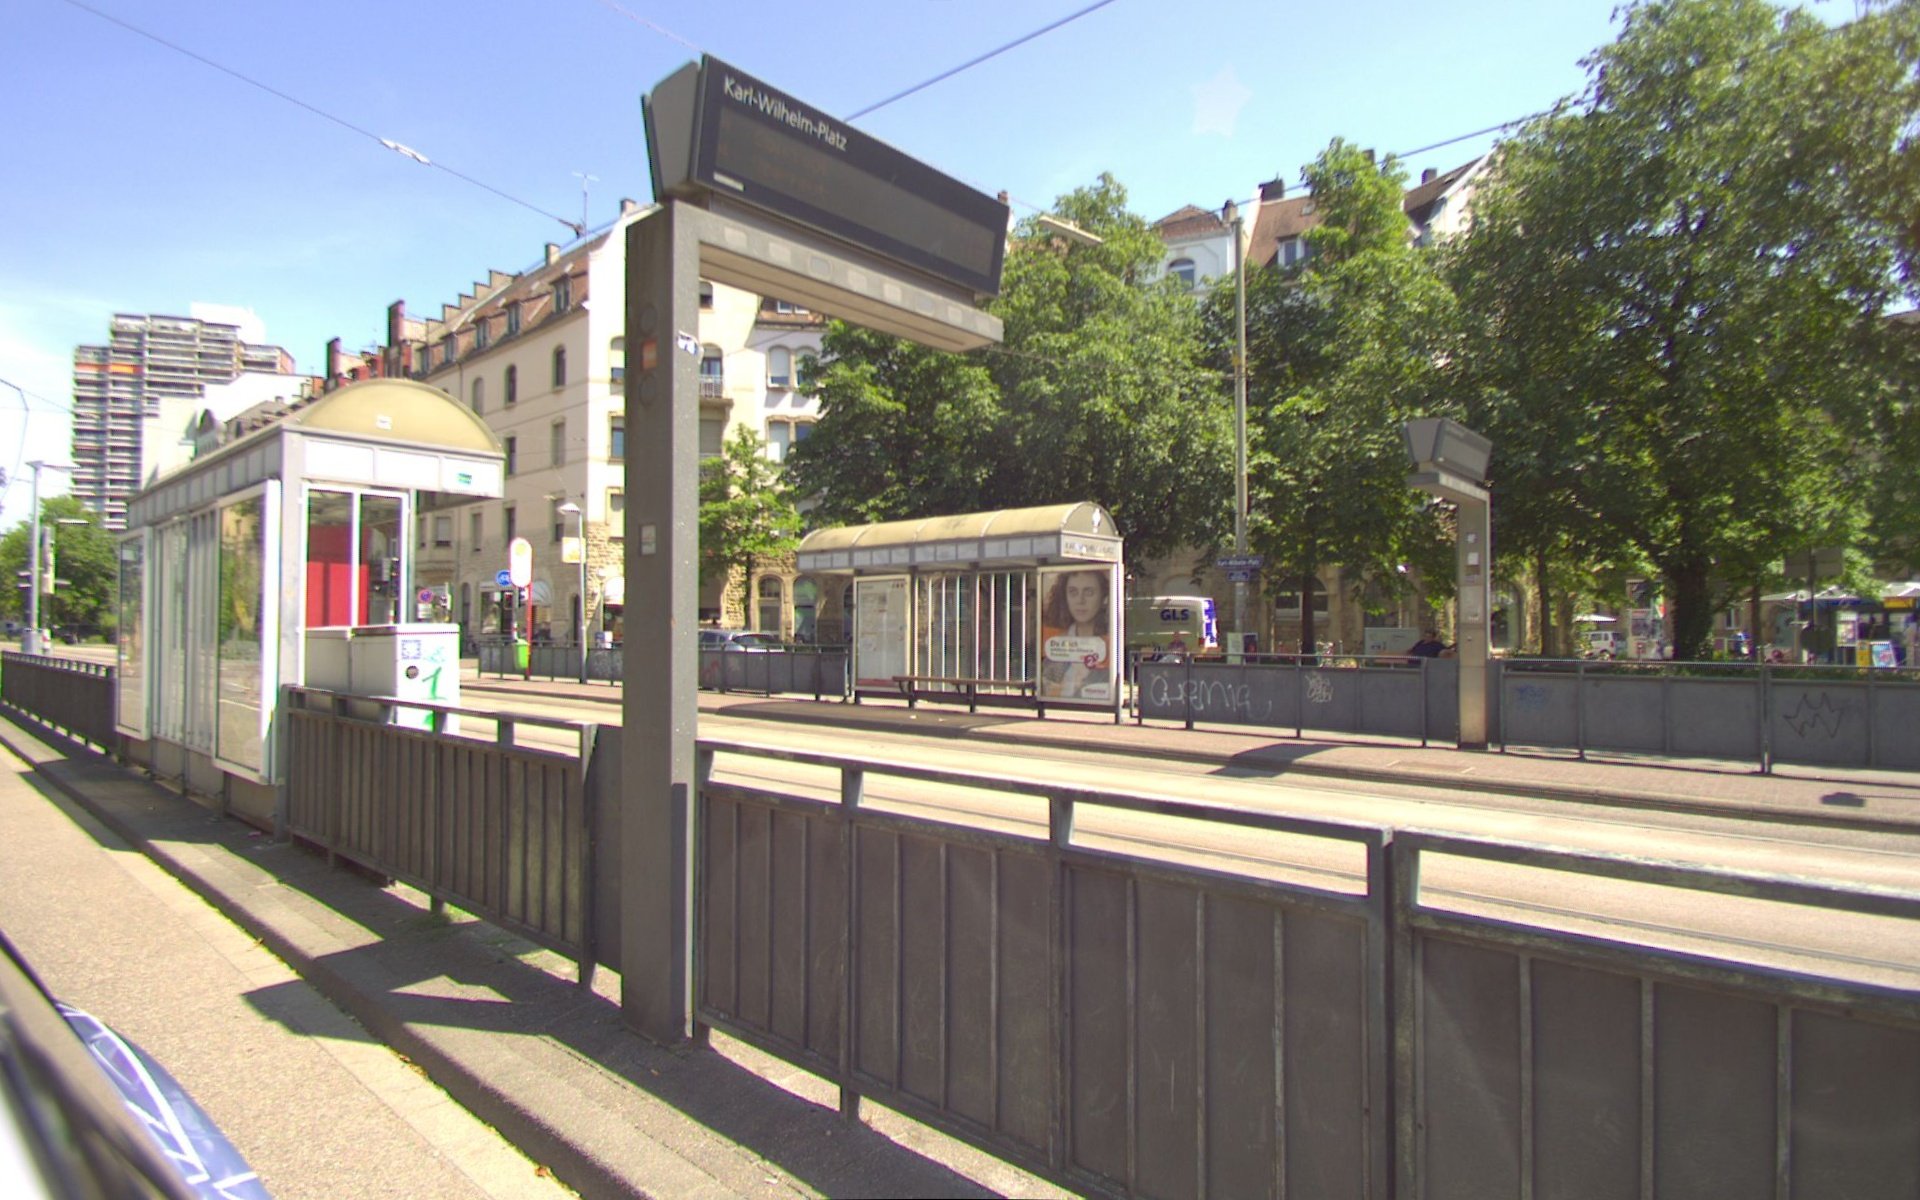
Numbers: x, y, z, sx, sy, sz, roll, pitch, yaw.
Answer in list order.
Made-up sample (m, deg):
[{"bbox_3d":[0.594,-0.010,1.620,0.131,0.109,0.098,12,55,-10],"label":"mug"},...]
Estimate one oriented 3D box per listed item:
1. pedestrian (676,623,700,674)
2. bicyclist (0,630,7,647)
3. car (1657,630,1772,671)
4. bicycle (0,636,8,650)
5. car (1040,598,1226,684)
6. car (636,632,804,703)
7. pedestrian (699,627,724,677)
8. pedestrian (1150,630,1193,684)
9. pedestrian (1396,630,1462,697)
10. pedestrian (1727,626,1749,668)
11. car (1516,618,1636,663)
[{"bbox_3d":[-8.890,1.578,33.111,0.473,1.659,0.586,-2,-3,41],"label":"pedestrian"},{"bbox_3d":[-107.569,4.292,113.698,0.715,1.889,0.636,-1,0,39],"label":"bicyclist"},{"bbox_3d":[35.788,2.352,48.102,1.736,1.721,3.998,-1,0,-33],"label":"car"},{"bbox_3d":[-107.561,4.794,113.708,1.969,1.524,0.636,-1,0,39],"label":"bicycle"},{"bbox_3d":[5.832,1.334,34.368,5.803,2.693,2.252,-1,0,29],"label":"car"},{"bbox_3d":[-5.597,1.493,23.360,3.998,1.404,1.789,-1,0,41],"label":"car"},{"bbox_3d":[-7.982,1.663,32.493,0.473,1.563,0.586,-2,-3,39],"label":"pedestrian"},{"bbox_3d":[5.094,1.359,24.314,0.930,1.253,0.860,-1,0,17],"label":"pedestrian"},{"bbox_3d":[9.284,1.242,20.039,0.852,1.253,0.939,-1,0,-43],"label":"pedestrian"},{"bbox_3d":[31.607,1.904,41.110,0.483,1.683,0.517,1,-2,-27],"label":"pedestrian"},{"bbox_3d":[26.719,1.707,44.009,1.966,1.803,4.011,-1,0,-33],"label":"car"}]
